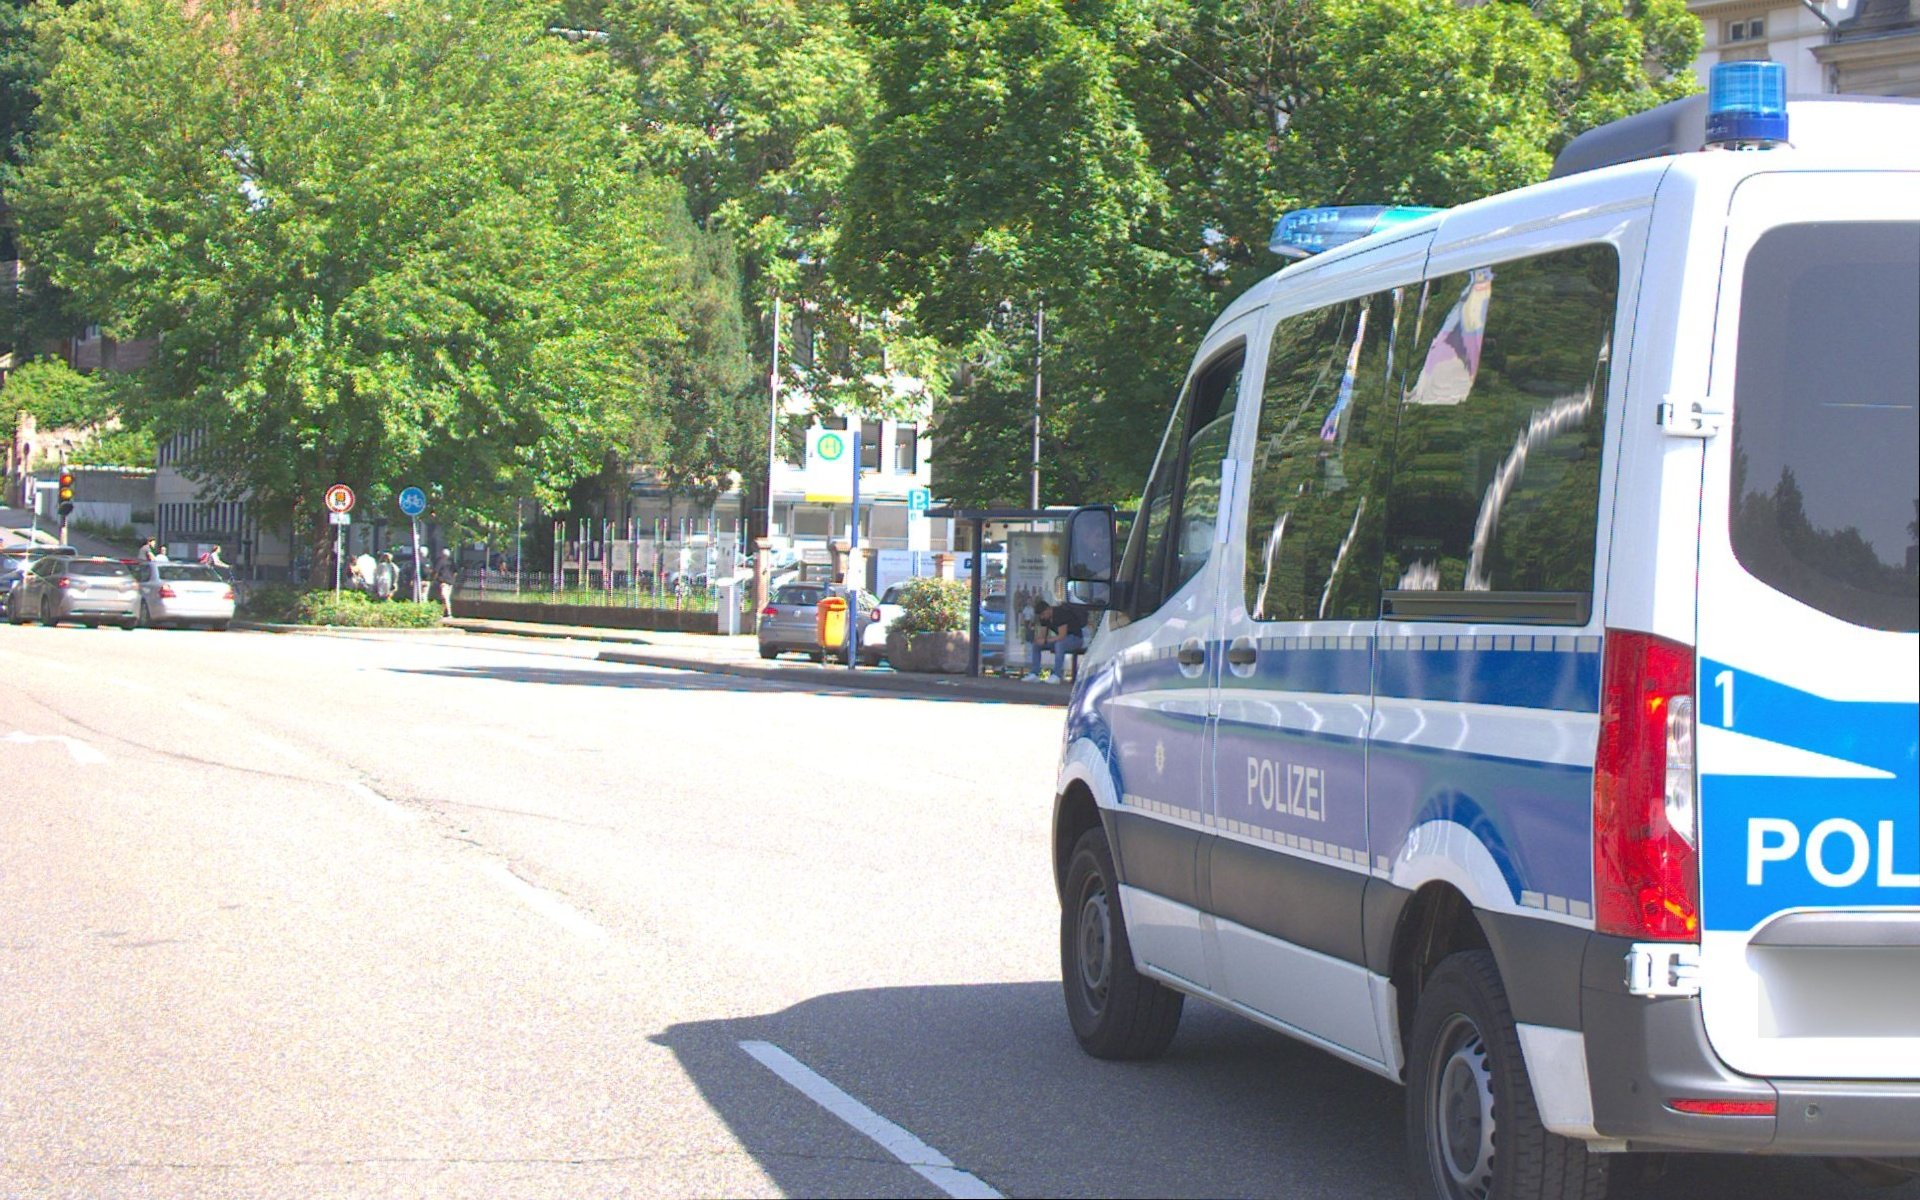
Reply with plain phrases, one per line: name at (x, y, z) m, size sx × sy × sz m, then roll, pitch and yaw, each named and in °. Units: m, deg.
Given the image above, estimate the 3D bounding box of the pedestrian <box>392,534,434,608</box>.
pedestrian at (-13.775, -0.730, 86.600) m, size 0.771 × 1.848 × 0.829 m, roll 2°, pitch 0°, yaw -27°

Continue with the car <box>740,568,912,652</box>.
car at (-2.447, 0.186, 63.874) m, size 1.823 × 1.456 × 4.104 m, roll 2°, pitch 1°, yaw 18°

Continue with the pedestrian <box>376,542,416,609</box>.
pedestrian at (-14.331, -0.623, 87.318) m, size 0.771 × 1.657 × 0.829 m, roll 2°, pitch 0°, yaw -24°

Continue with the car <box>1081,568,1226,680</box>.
car at (3.191, 0.375, 55.965) m, size 1.709 × 1.690 × 4.272 m, roll 2°, pitch 0°, yaw 11°

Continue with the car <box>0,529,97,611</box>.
car at (-22.656, -0.755, 85.113) m, size 1.756 × 1.931 × 3.495 m, roll 2°, pitch 1°, yaw -26°

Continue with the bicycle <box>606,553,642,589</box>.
bicycle at (-10.464, -0.902, 106.992) m, size 0.537 × 1.081 × 1.835 m, roll 1°, pitch 1°, yaw -24°

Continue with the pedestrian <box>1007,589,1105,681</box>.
pedestrian at (1.277, 0.464, 45.798) m, size 0.791 × 1.193 × 1.019 m, roll 2°, pitch 1°, yaw 44°

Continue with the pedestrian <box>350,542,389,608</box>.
pedestrian at (-15.185, -0.635, 88.394) m, size 0.771 × 1.657 × 0.829 m, roll 2°, pitch 0°, yaw -25°

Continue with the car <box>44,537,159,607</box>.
car at (-19.327, -0.645, 77.346) m, size 1.756 × 1.456 × 3.646 m, roll 2°, pitch 1°, yaw -26°

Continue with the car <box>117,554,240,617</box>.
car at (-16.545, -0.323, 72.683) m, size 1.756 × 1.209 × 3.495 m, roll 2°, pitch 1°, yaw -26°

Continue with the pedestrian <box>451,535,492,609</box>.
pedestrian at (-12.428, -0.705, 87.454) m, size 0.771 × 1.848 × 0.829 m, roll 2°, pitch 0°, yaw -27°

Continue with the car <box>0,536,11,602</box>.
car at (-22.664, -0.740, 77.509) m, size 1.756 × 1.456 × 3.646 m, roll 2°, pitch 1°, yaw -26°

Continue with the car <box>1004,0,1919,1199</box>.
car at (1.683, 0.163, 8.730) m, size 2.072 × 2.500 × 4.930 m, roll 2°, pitch 0°, yaw -11°

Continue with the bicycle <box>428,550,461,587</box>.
bicycle at (-15.760, -0.963, 105.057) m, size 0.537 × 1.081 × 1.835 m, roll 1°, pitch 1°, yaw -24°

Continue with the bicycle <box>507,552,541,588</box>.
bicycle at (-13.451, -0.938, 105.999) m, size 0.537 × 1.081 × 1.835 m, roll 1°, pitch 1°, yaw -24°

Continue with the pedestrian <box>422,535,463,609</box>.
pedestrian at (-13.104, -0.708, 87.059) m, size 0.771 × 1.848 × 0.829 m, roll 2°, pitch 0°, yaw -27°

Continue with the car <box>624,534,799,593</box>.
car at (-6.499, -0.950, 89.867) m, size 4.142 × 1.471 × 1.878 m, roll 1°, pitch 1°, yaw -30°

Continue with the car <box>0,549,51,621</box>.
car at (-20.577, -0.352, 73.029) m, size 1.756 × 1.456 × 3.495 m, roll 2°, pitch 1°, yaw -26°

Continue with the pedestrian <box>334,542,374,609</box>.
pedestrian at (-15.412, -0.626, 87.374) m, size 0.771 × 1.657 × 0.829 m, roll 2°, pitch 0°, yaw -25°

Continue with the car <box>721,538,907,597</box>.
car at (-3.536, -0.778, 83.155) m, size 4.084 × 1.331 × 1.822 m, roll 1°, pitch 1°, yaw -28°

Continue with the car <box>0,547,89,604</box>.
car at (-24.916, -0.679, 93.313) m, size 1.756 × 1.456 × 3.495 m, roll 2°, pitch 1°, yaw -26°

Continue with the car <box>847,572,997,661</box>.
car at (-0.653, 0.287, 61.963) m, size 1.709 × 1.506 × 3.809 m, roll 2°, pitch 0°, yaw 15°

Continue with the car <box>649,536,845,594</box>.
car at (-5.272, -0.864, 85.144) m, size 4.465 × 1.331 × 1.822 m, roll 1°, pitch 1°, yaw -28°

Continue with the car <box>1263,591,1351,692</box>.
car at (5.354, 0.617, 52.937) m, size 1.198 × 1.477 × 2.288 m, roll 2°, pitch 0°, yaw 8°

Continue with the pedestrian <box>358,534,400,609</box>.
pedestrian at (-14.581, -0.728, 86.251) m, size 0.771 × 1.848 × 0.829 m, roll 2°, pitch 0°, yaw -26°

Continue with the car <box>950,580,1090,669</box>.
car at (1.079, 0.404, 59.483) m, size 1.709 × 1.437 × 3.809 m, roll 2°, pitch 0°, yaw 11°

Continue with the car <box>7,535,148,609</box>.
car at (-17.428, -0.564, 67.777) m, size 1.756 × 1.329 × 3.802 m, roll 2°, pitch 1°, yaw -29°
